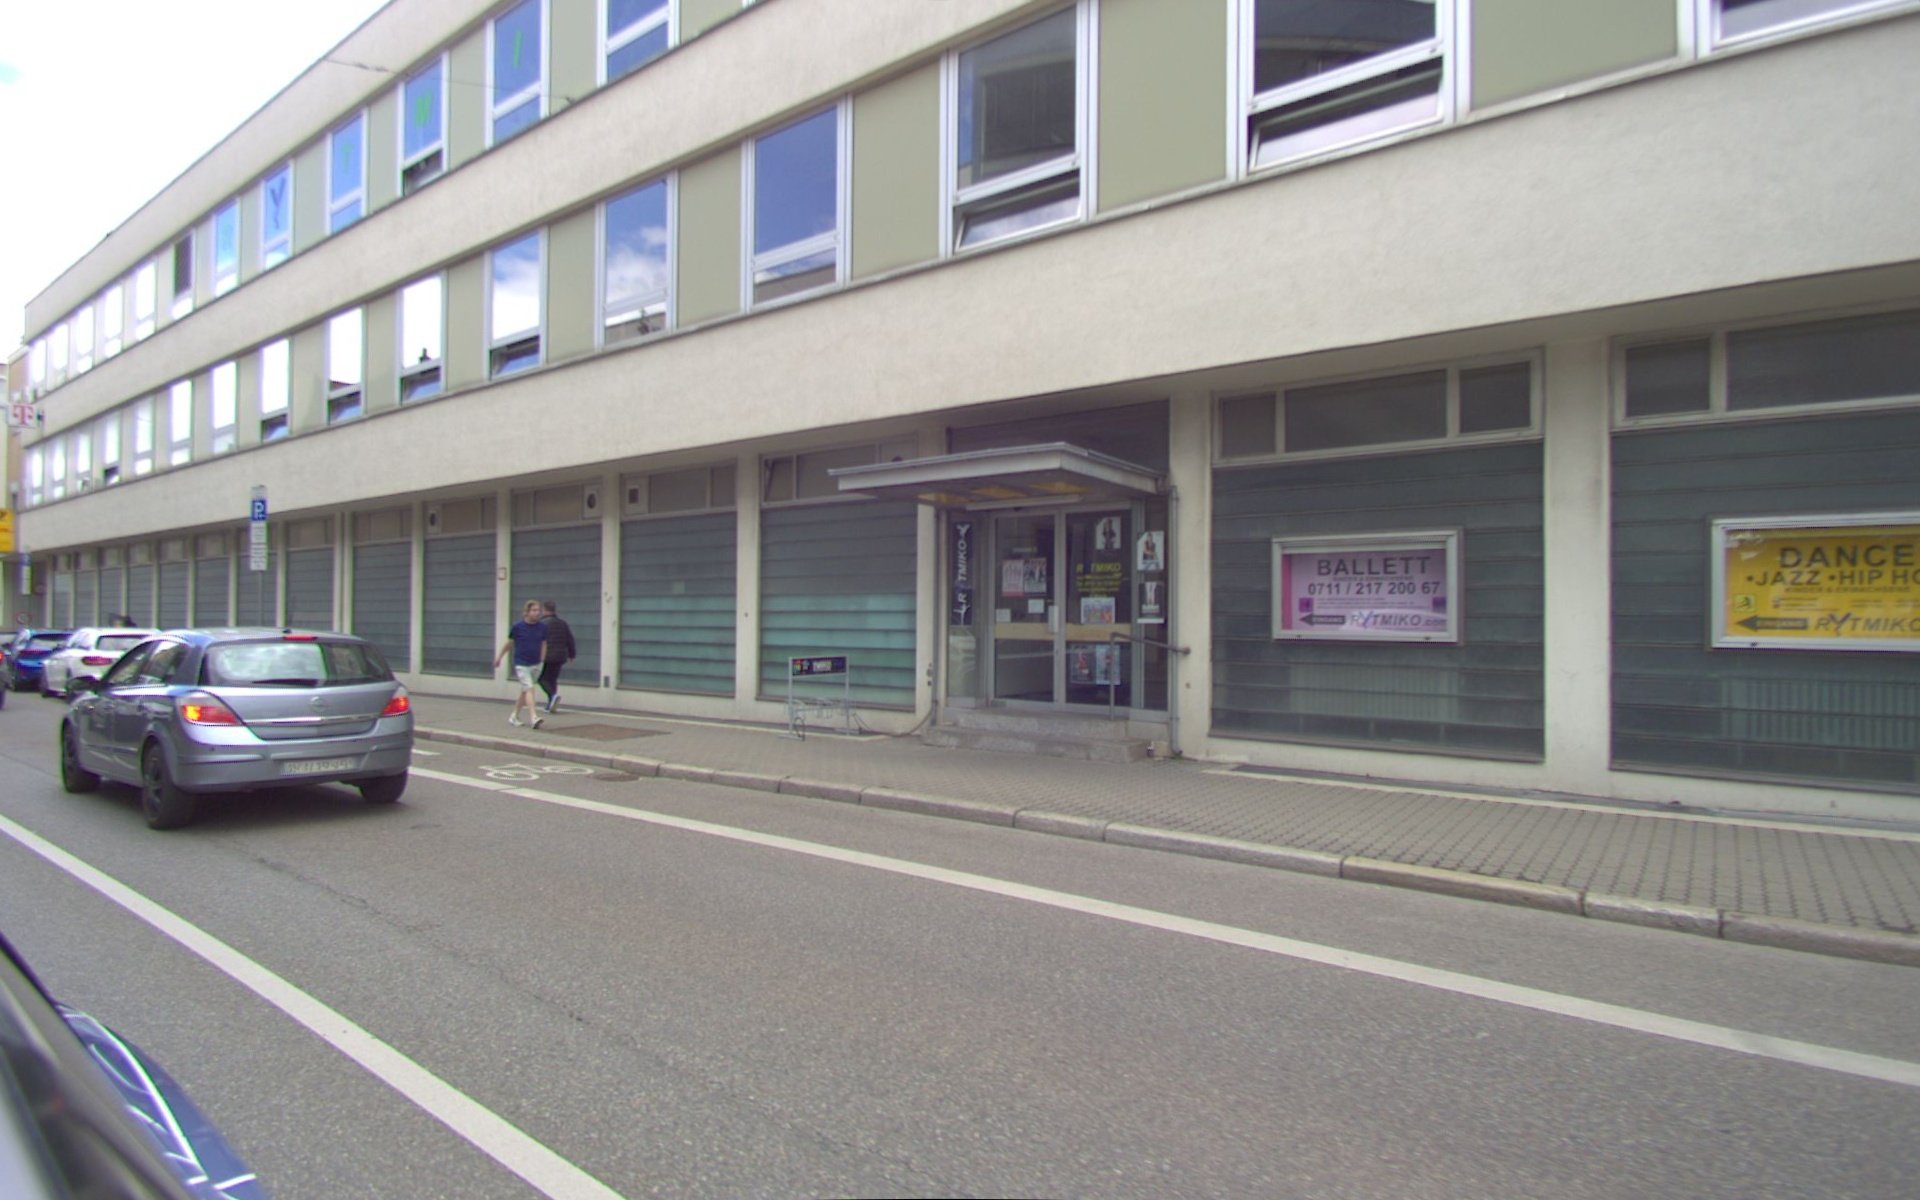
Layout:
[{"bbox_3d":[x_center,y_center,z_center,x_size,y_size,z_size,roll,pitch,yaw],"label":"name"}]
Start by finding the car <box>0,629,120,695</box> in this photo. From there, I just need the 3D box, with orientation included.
[{"bbox_3d":[-21.620,1.427,24.055,4.261,1.437,1.796,-1,-4,40],"label":"car"}]

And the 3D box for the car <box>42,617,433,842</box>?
[{"bbox_3d":[-6.213,0.912,8.551,3.915,1.477,1.641,-1,-3,38],"label":"car"}]

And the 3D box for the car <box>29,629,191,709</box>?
[{"bbox_3d":[-17.218,1.330,20.421,4.548,1.445,1.653,-1,-4,40],"label":"car"}]

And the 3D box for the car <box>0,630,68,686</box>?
[{"bbox_3d":[-26.124,1.546,27.684,3.862,1.436,1.701,-1,-4,36],"label":"car"}]

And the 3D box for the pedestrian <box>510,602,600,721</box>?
[{"bbox_3d":[-6.184,0.907,15.439,1.029,1.731,0.854,-1,-1,36],"label":"pedestrian"}]

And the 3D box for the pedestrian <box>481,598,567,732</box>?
[{"bbox_3d":[-5.917,0.860,13.727,1.053,1.731,0.584,-1,-2,36],"label":"pedestrian"}]

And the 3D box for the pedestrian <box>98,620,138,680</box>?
[{"bbox_3d":[-24.682,1.452,29.683,0.641,1.731,0.590,0,-2,5],"label":"pedestrian"}]
